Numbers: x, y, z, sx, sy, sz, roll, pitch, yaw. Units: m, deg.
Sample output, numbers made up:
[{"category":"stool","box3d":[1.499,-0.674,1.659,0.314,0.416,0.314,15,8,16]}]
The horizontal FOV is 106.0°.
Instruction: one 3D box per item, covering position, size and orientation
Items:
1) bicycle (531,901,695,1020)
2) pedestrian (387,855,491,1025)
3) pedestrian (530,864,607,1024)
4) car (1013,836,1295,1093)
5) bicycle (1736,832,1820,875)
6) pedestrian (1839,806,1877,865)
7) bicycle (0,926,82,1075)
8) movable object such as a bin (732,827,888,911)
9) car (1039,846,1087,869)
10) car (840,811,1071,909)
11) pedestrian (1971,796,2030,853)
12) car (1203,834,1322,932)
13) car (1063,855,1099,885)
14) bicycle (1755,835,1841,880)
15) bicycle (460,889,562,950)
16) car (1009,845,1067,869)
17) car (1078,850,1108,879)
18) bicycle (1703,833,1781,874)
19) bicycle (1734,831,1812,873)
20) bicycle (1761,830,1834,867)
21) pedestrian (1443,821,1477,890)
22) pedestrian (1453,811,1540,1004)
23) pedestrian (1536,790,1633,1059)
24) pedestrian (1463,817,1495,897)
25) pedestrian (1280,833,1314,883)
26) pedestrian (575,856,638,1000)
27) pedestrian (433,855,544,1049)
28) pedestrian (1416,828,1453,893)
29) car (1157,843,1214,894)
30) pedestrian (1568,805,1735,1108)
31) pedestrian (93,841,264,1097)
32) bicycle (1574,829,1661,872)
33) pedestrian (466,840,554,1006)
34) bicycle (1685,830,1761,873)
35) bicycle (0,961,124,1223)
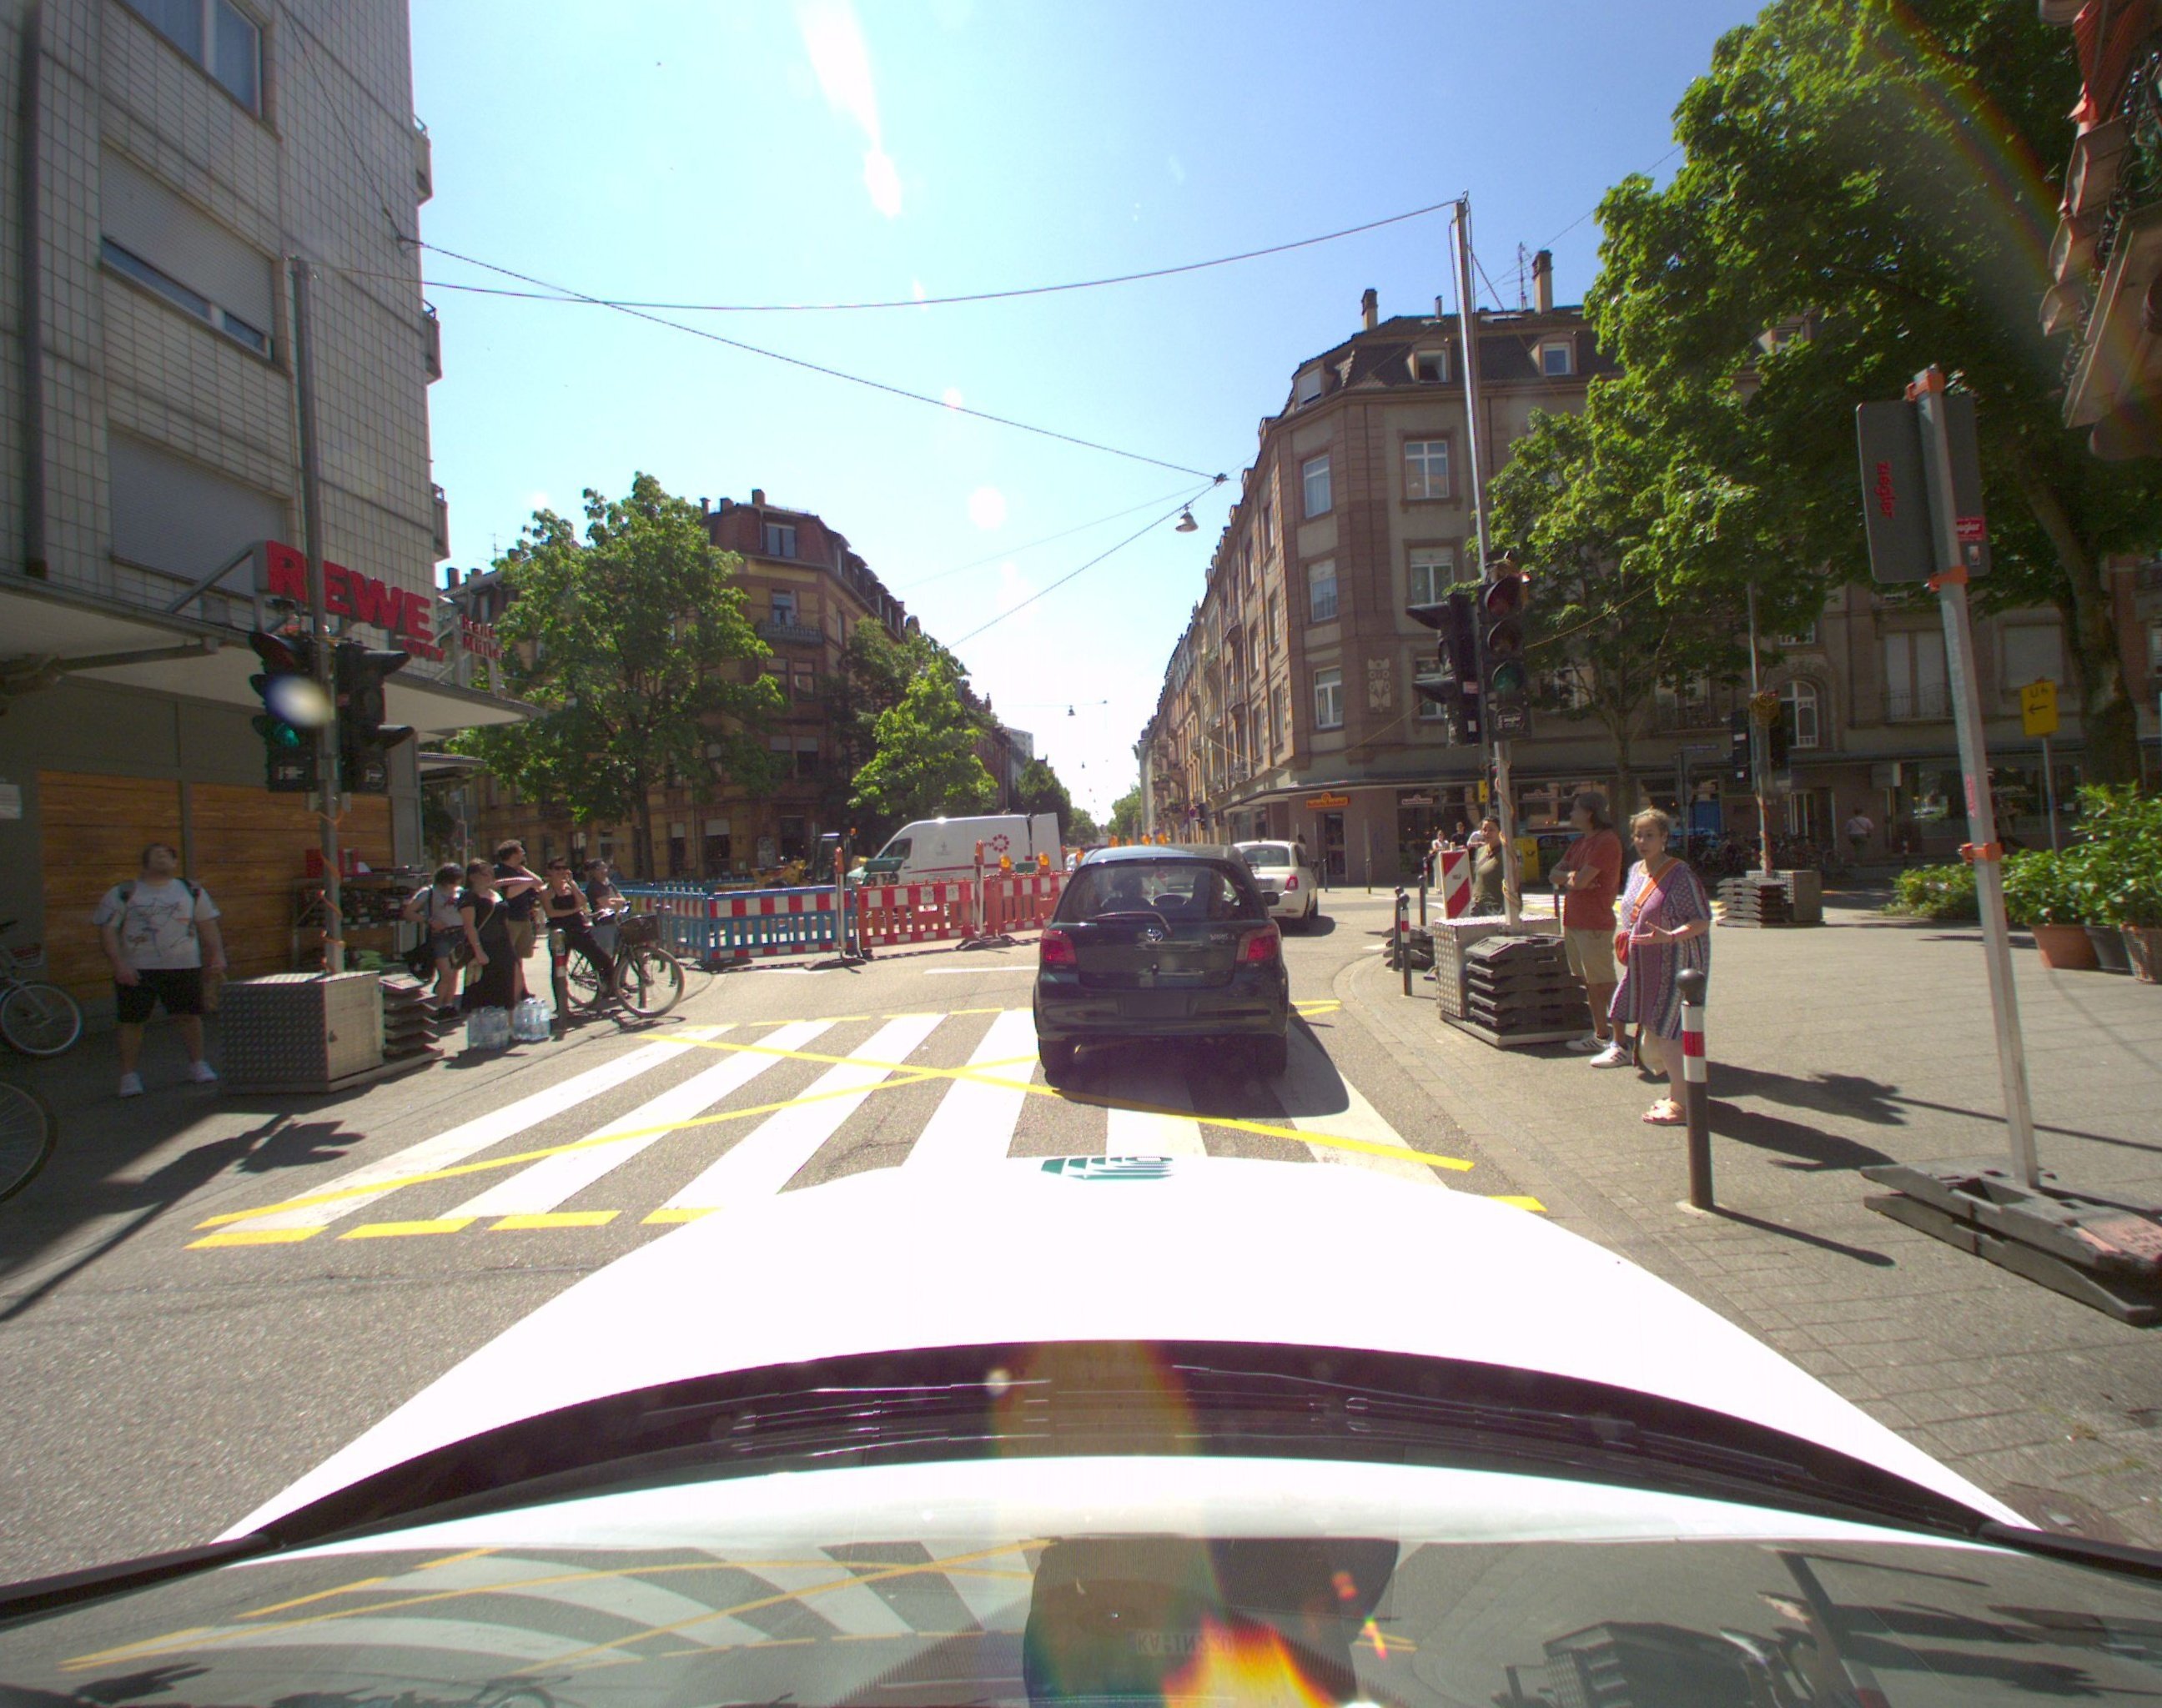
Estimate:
[{"category":"bicycle","box3d":[-4.908,1.075,8.525,1.789,1.119,0.470,-1,0,23]},{"category":"pedestrian","box3d":[-6.493,0.843,8.264,0.507,1.633,0.599,-3,0,-1]},{"category":"pedestrian","box3d":[-5.249,0.891,8.349,0.491,1.565,0.462,-1,1,28]},{"category":"car","box3d":[0.638,0.635,6.407,1.605,1.485,3.248,-2,1,8]},{"category":"bicycle","box3d":[17.654,-0.020,20.630,1.756,0.996,0.470,-3,2,-3]},{"category":"pedestrian","box3d":[22.002,-0.520,23.065,0.488,1.614,0.560,-3,0,6]},{"category":"bicycle","box3d":[-8.468,1.161,6.196,0.321,1.086,1.424,-2,1,-17]},{"category":"movable object such as a bin","box3d":[-9.061,0.486,27.522,4.528,2.659,1.955,-1,0,0]},{"category":"car","box3d":[-1.921,0.383,86.642,4.581,2.187,1.983,-2,0,-26]},{"category":"car","box3d":[-3.695,0.179,24.939,6.595,2.751,2.381,-1,0,2]},{"category":"pedestrian","box3d":[27.840,-0.879,24.670,0.853,1.634,0.788,-3,0,1]},{"category":"car","box3d":[3.325,0.442,14.502,1.509,1.521,3.281,-3,0,21]},{"category":"car","box3d":[0.037,0.851,44.976,1.748,1.444,4.002,-3,0,2]},{"category":"bicycle","box3d":[17.533,0.080,19.925,1.756,0.996,0.470,-3,2,-3]},{"category":"bicycle","box3d":[-11.149,1.269,15.954,1.573,1.072,0.341,-3,0,-16]},{"category":"car","box3d":[-3.892,0.291,74.336,4.800,1.994,2.035,-2,0,-27]},{"category":"car","box3d":[0.867,0.673,54.425,1.748,1.645,4.379,-6,0,2]},{"category":"bicycle","box3d":[17.746,-0.032,21.887,1.756,0.996,0.470,-3,2,-3]},{"category":"bicycle","box3d":[17.966,-0.055,21.153,1.679,1.005,0.470,-3,2,-3]},{"category":"bicycle","box3d":[20.859,-0.163,23.707,1.756,0.996,0.470,-3,2,-3]},{"category":"pedestrian","box3d":[10.024,0.031,21.522,0.574,1.768,0.470,-5,3,-7]},{"category":"pedestrian","box3d":[3.505,0.438,6.898,0.457,1.560,0.480,-3,0,7]},{"category":"pedestrian","box3d":[3.263,0.445,5.300,0.330,1.675,0.402,-3,0,7]},{"category":"pedestrian","box3d":[8.910,0.070,18.247,0.473,1.732,0.876,-3,-1,21]},{"category":"pedestrian","box3d":[7.090,0.133,26.756,0.645,1.623,0.796,-3,0,-31]},{"category":"pedestrian","box3d":[-5.515,0.838,9.480,0.388,1.618,0.475,-3,0,-1]},{"category":"pedestrian","box3d":[-5.252,0.841,7.245,0.539,1.633,0.511,-3,0,-1]},{"category":"pedestrian","box3d":[9.289,0.162,21.381,0.701,1.645,0.422,-5,3,-7]},{"category":"car","box3d":[3.542,0.449,28.001,1.517,1.592,3.264,-3,0,1]},{"category":"pedestrian","box3d":[3.090,0.536,4.445,0.490,1.543,0.437,-5,-1,7]},{"category":"pedestrian","box3d":[-6.615,0.802,5.998,0.507,1.770,0.599,-3,0,-1]},{"category":"bicycle","box3d":[15.422,-0.105,23.453,1.964,1.132,0.519,-3,0,19]},{"category":"pedestrian","box3d":[-6.528,0.762,9.337,0.507,1.820,0.599,-3,0,-1]},{"category":"bicycle","box3d":[17.670,-0.082,22.419,1.756,1.080,0.470,-3,2,-3]},{"category":"bicycle","box3d":[-5.817,1.124,3.844,1.794,1.123,0.577,-1,0,-5]}]
